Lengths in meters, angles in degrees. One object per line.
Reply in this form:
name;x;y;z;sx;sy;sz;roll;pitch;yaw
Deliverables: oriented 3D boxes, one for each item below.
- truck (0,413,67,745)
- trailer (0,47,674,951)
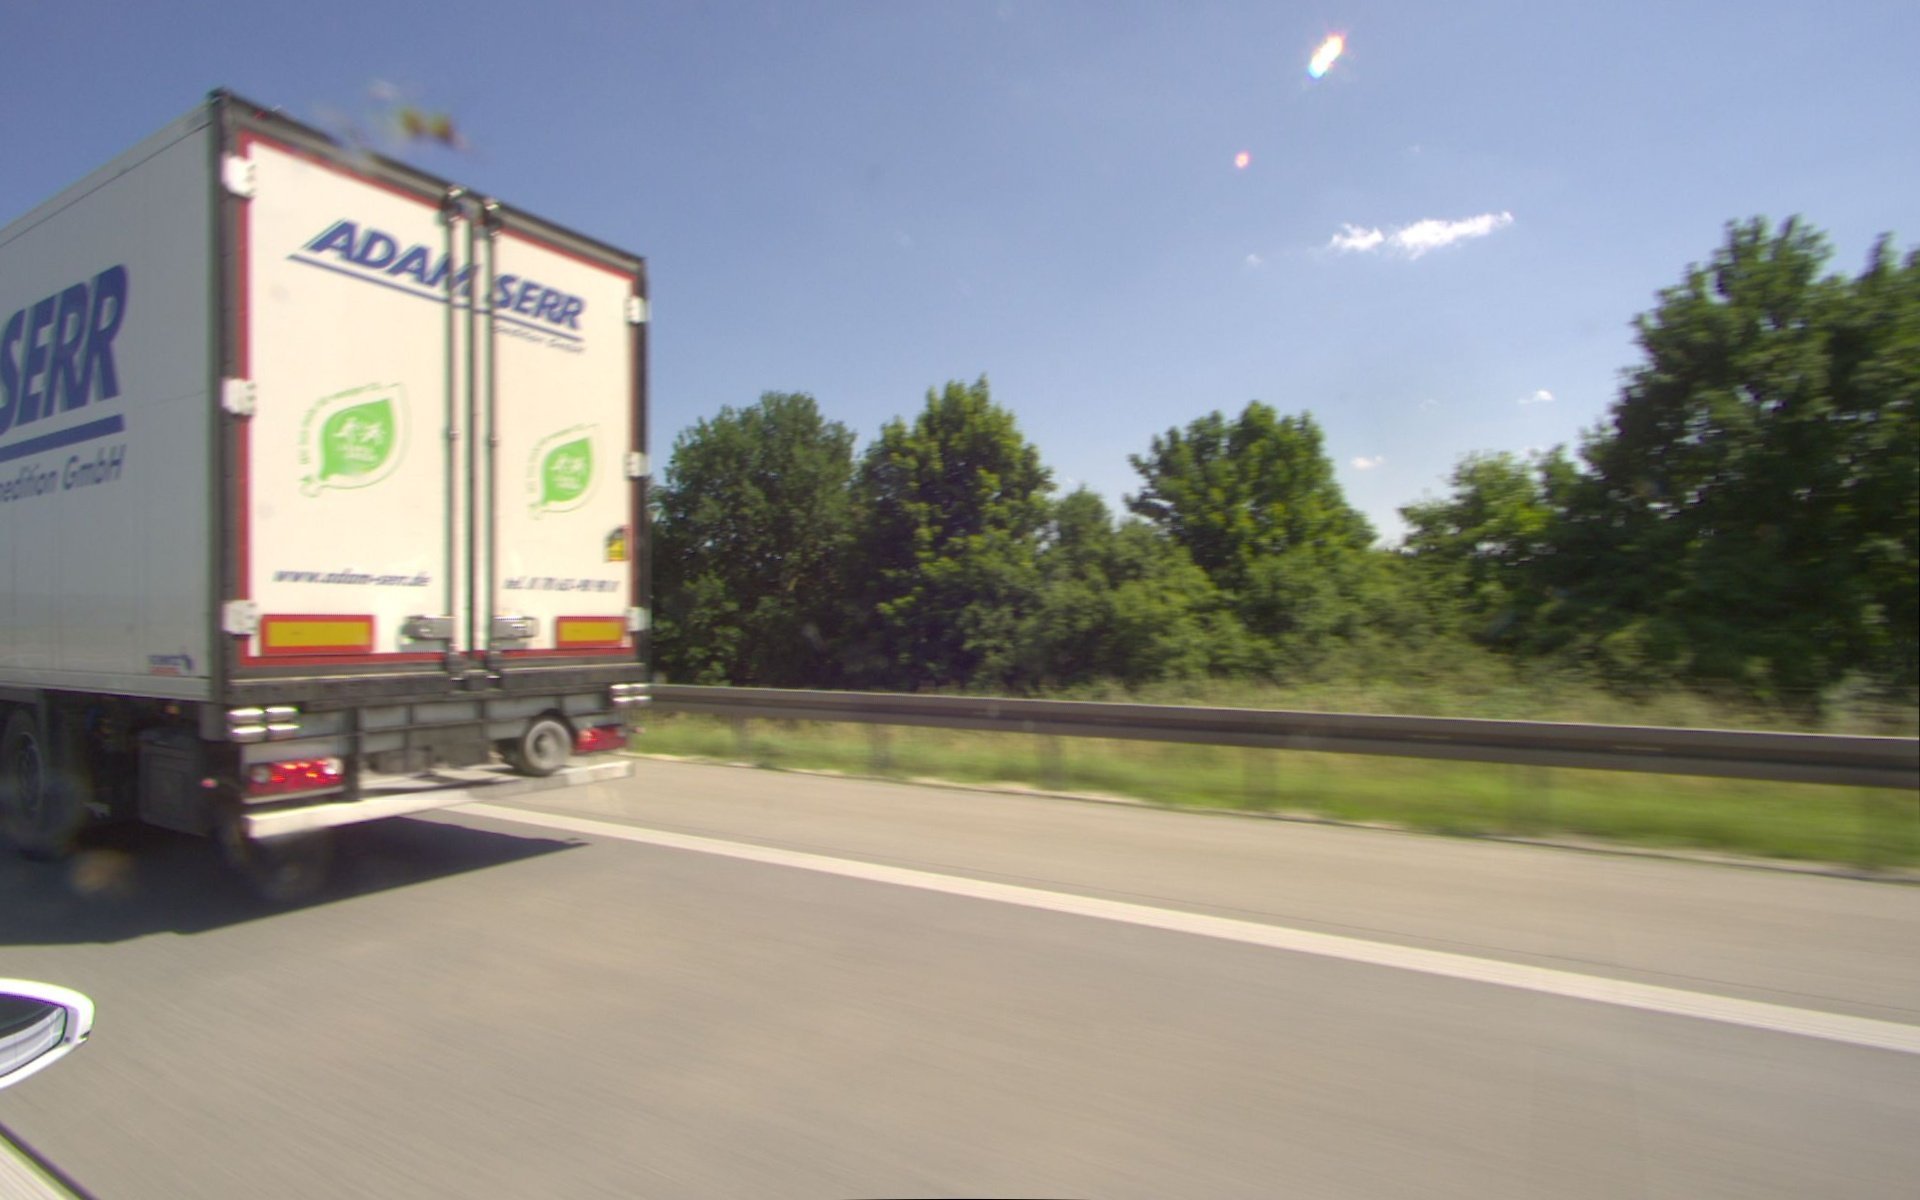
truck;-14.768;-0.244;13.332;5.715;4.140;2.807;-1;-2;32
trailer;-8.049;-0.332;9.069;12.530;4.094;2.848;-1;-2;32
